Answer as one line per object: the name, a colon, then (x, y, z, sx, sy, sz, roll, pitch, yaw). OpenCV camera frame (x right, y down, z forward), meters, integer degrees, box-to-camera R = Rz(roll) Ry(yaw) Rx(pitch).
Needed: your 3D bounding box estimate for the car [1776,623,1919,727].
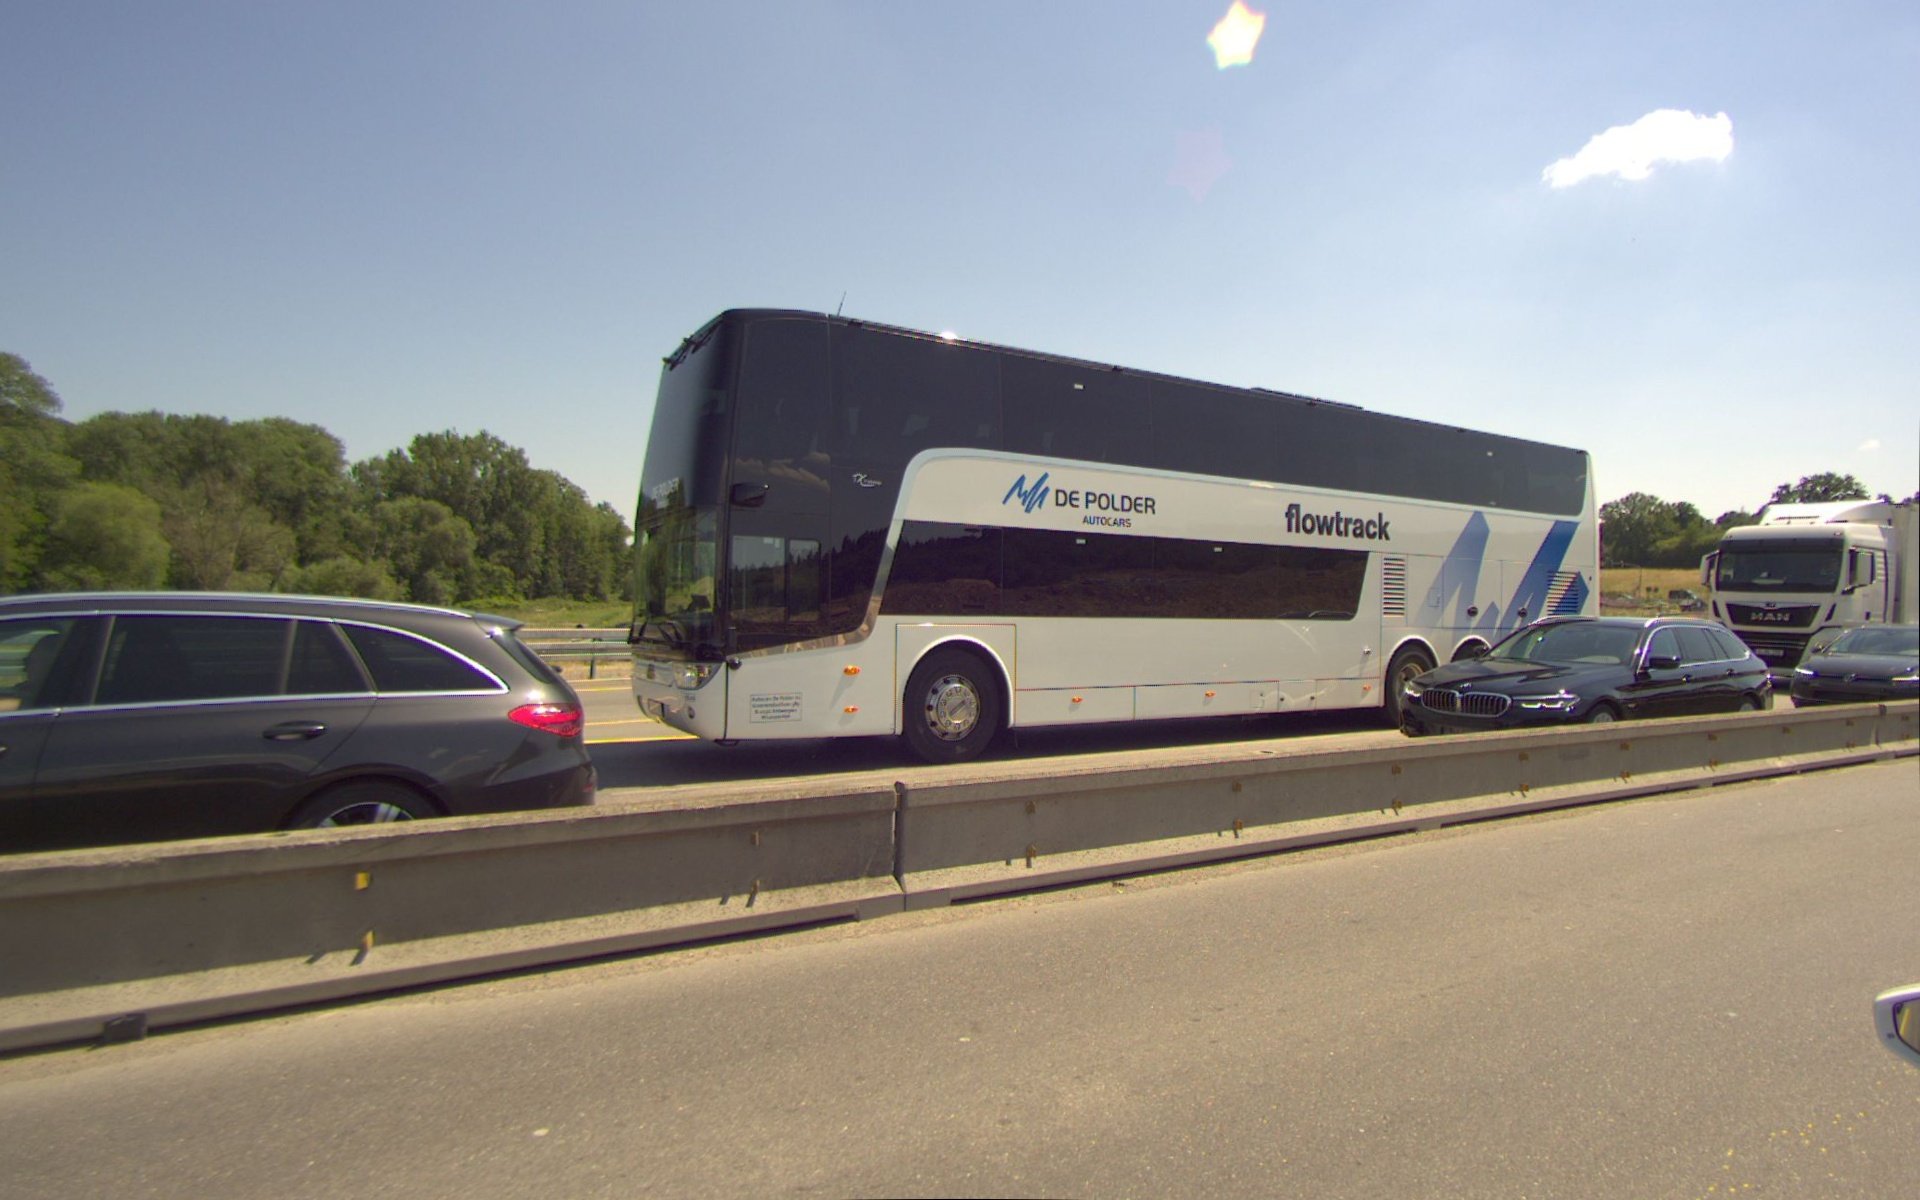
car: (15.253, 1.115, 16.202, 4.630, 1.442, 1.823, 1, 0, -32)

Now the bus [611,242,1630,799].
bus: (3.297, -0.518, 12.682, 14.309, 4.321, 2.725, 1, 0, -31)

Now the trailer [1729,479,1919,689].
trailer: (25.087, -0.324, 26.155, 13.915, 4.442, 3.125, 0, 1, -31)

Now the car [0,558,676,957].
car: (-3.951, 0.577, 4.482, 4.873, 1.463, 1.829, 1, 0, -31)

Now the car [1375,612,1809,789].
car: (6.965, 0.907, 10.915, 5.031, 1.442, 1.908, 0, 2, -31)

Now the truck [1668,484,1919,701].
truck: (19.433, -0.175, 22.778, 6.623, 4.254, 3.082, 0, 1, -31)
